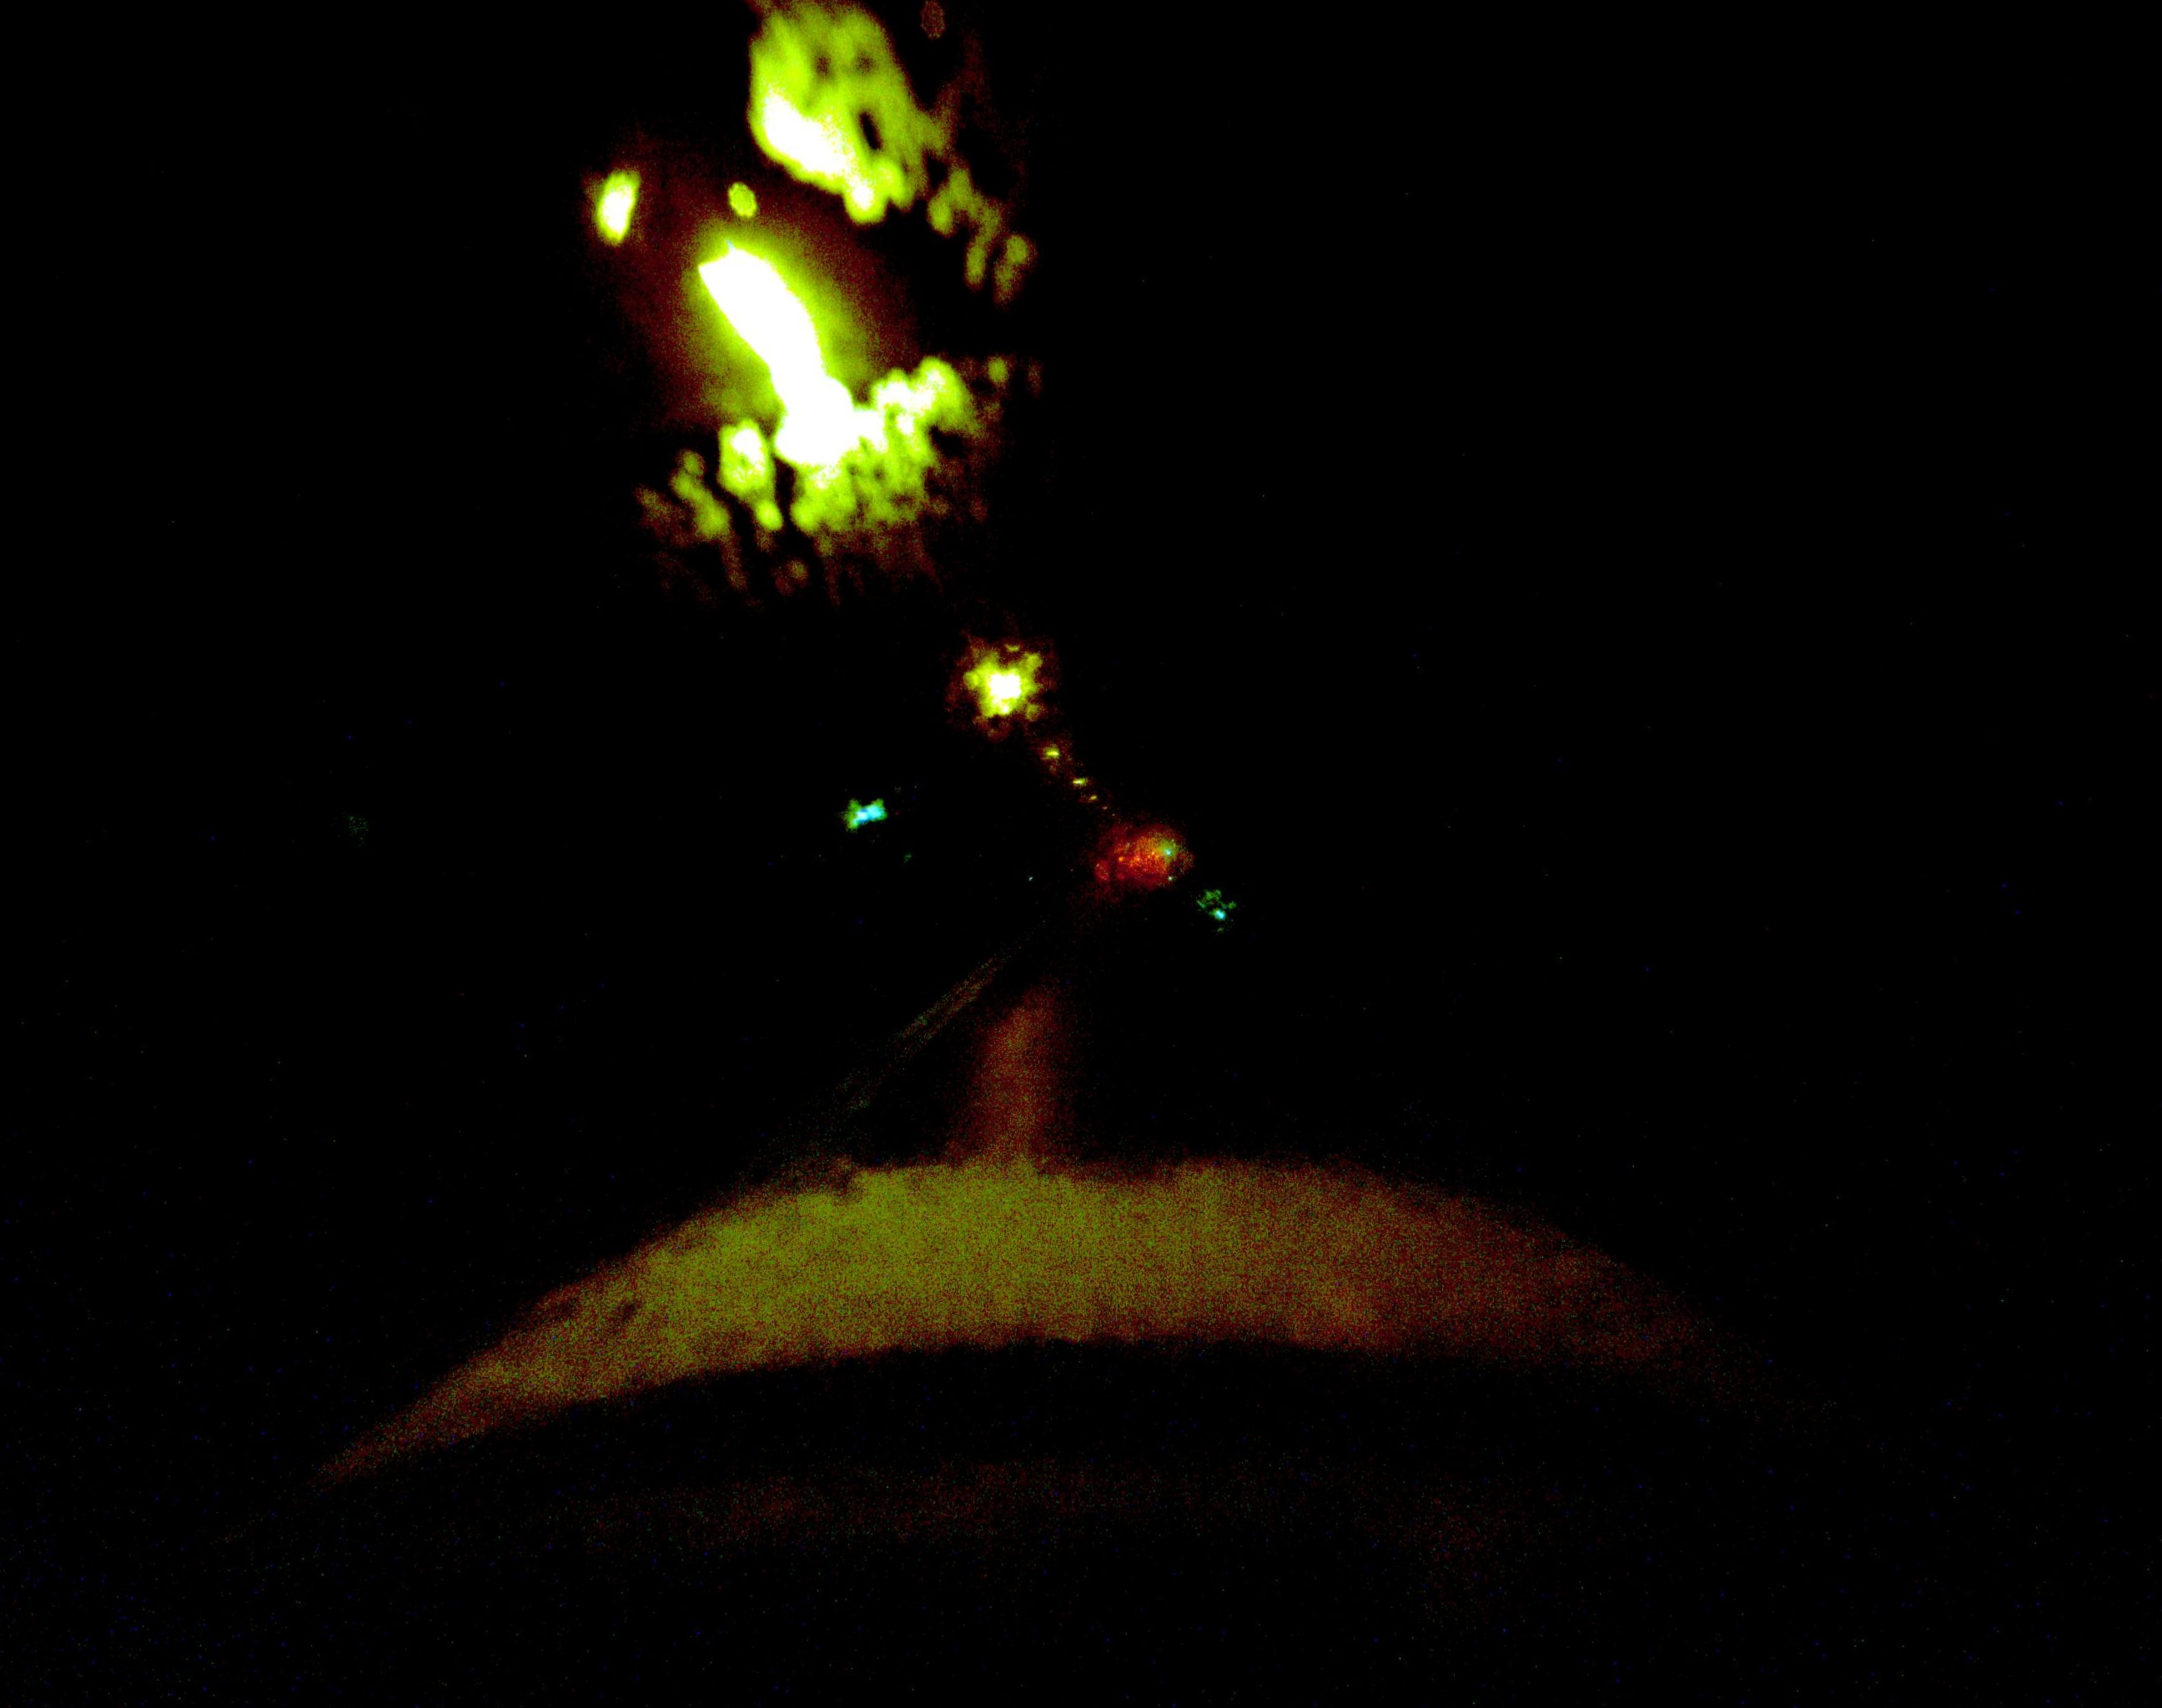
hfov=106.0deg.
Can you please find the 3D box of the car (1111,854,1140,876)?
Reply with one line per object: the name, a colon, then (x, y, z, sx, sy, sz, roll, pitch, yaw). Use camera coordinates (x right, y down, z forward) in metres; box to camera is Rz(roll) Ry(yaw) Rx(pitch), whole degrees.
car: (3.508, 0.859, 63.497, 2.079, 1.662, 4.006, -1, 0, 5)
